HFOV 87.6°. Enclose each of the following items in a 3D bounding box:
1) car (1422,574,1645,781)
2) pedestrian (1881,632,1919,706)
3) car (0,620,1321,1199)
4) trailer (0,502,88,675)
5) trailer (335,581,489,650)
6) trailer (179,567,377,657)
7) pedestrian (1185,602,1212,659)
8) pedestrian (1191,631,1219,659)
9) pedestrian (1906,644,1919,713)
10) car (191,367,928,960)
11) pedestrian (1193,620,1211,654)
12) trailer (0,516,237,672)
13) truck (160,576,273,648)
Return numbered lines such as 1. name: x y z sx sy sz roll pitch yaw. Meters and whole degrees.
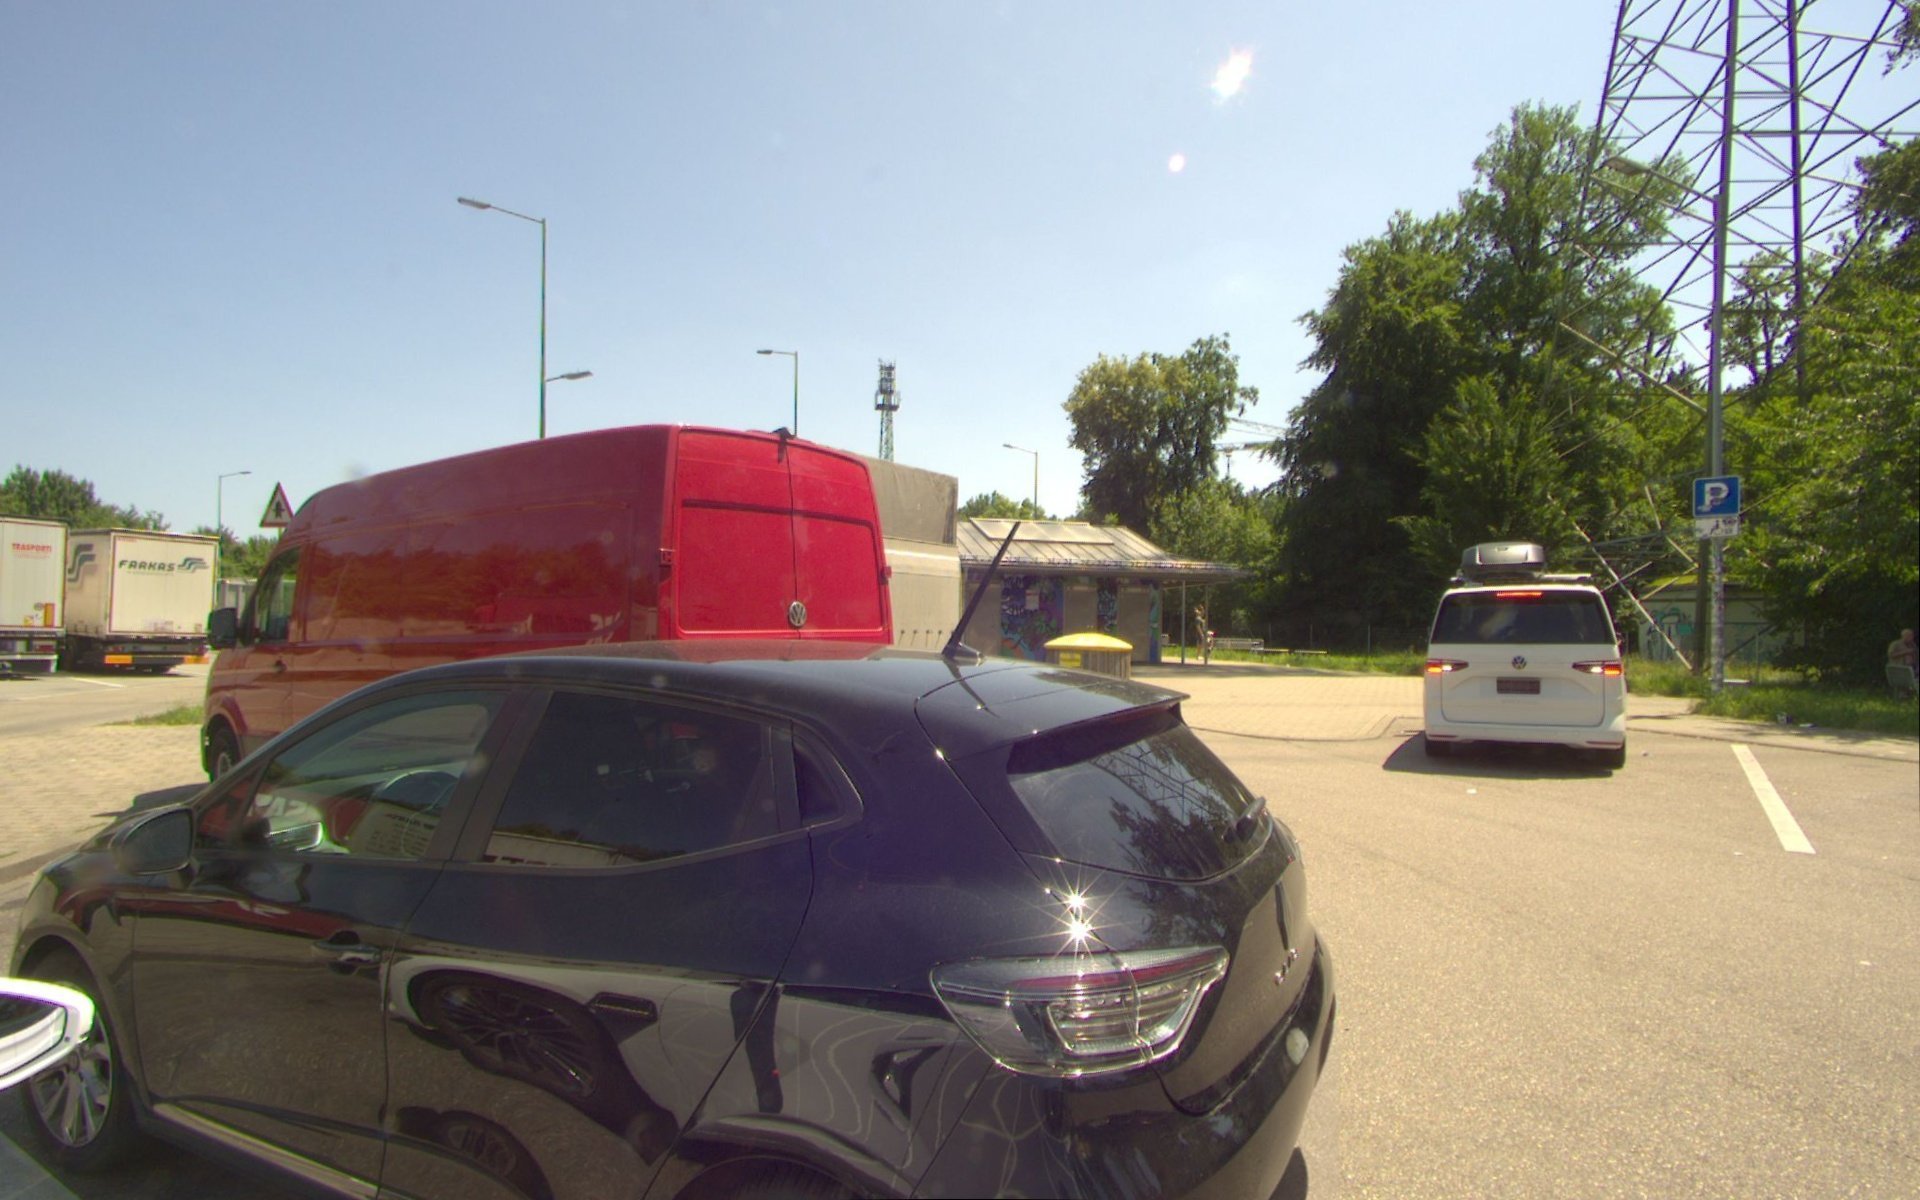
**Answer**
1. car: 6.536 0.780 11.842 1.881 1.937 4.549 -1 -1 26
2. pedestrian: 18.550 1.331 19.595 0.660 1.422 0.647 -1 -1 33
3. car: -1.048 0.841 2.906 3.757 1.501 1.736 0 -1 27
4. trailer: -28.954 -0.364 28.149 13.523 4.185 2.835 1 -2 33
5. trailer: -36.034 0.929 65.434 13.530 4.101 2.834 1 -2 34
6. trailer: -32.371 0.494 47.141 13.530 3.764 2.834 1 -2 34
7. pedestrian: 8.773 1.122 36.894 0.763 2.067 0.646 0 -1 -11
8. pedestrian: 8.728 1.601 35.676 0.763 0.960 0.646 0 -1 -11
9. pedestrian: 17.204 1.371 17.476 0.876 1.192 0.666 -1 -2 32
10. car: -3.340 0.317 7.358 6.310 2.731 2.060 0 -1 37
11. pedestrian: 10.978 1.676 45.475 0.633 1.547 0.565 0 -1 -6
12. trailer: -27.645 -0.184 31.630 13.523 4.185 2.835 1 -2 33
13. truck: -37.680 0.577 50.740 5.405 3.407 2.847 1 -2 34
